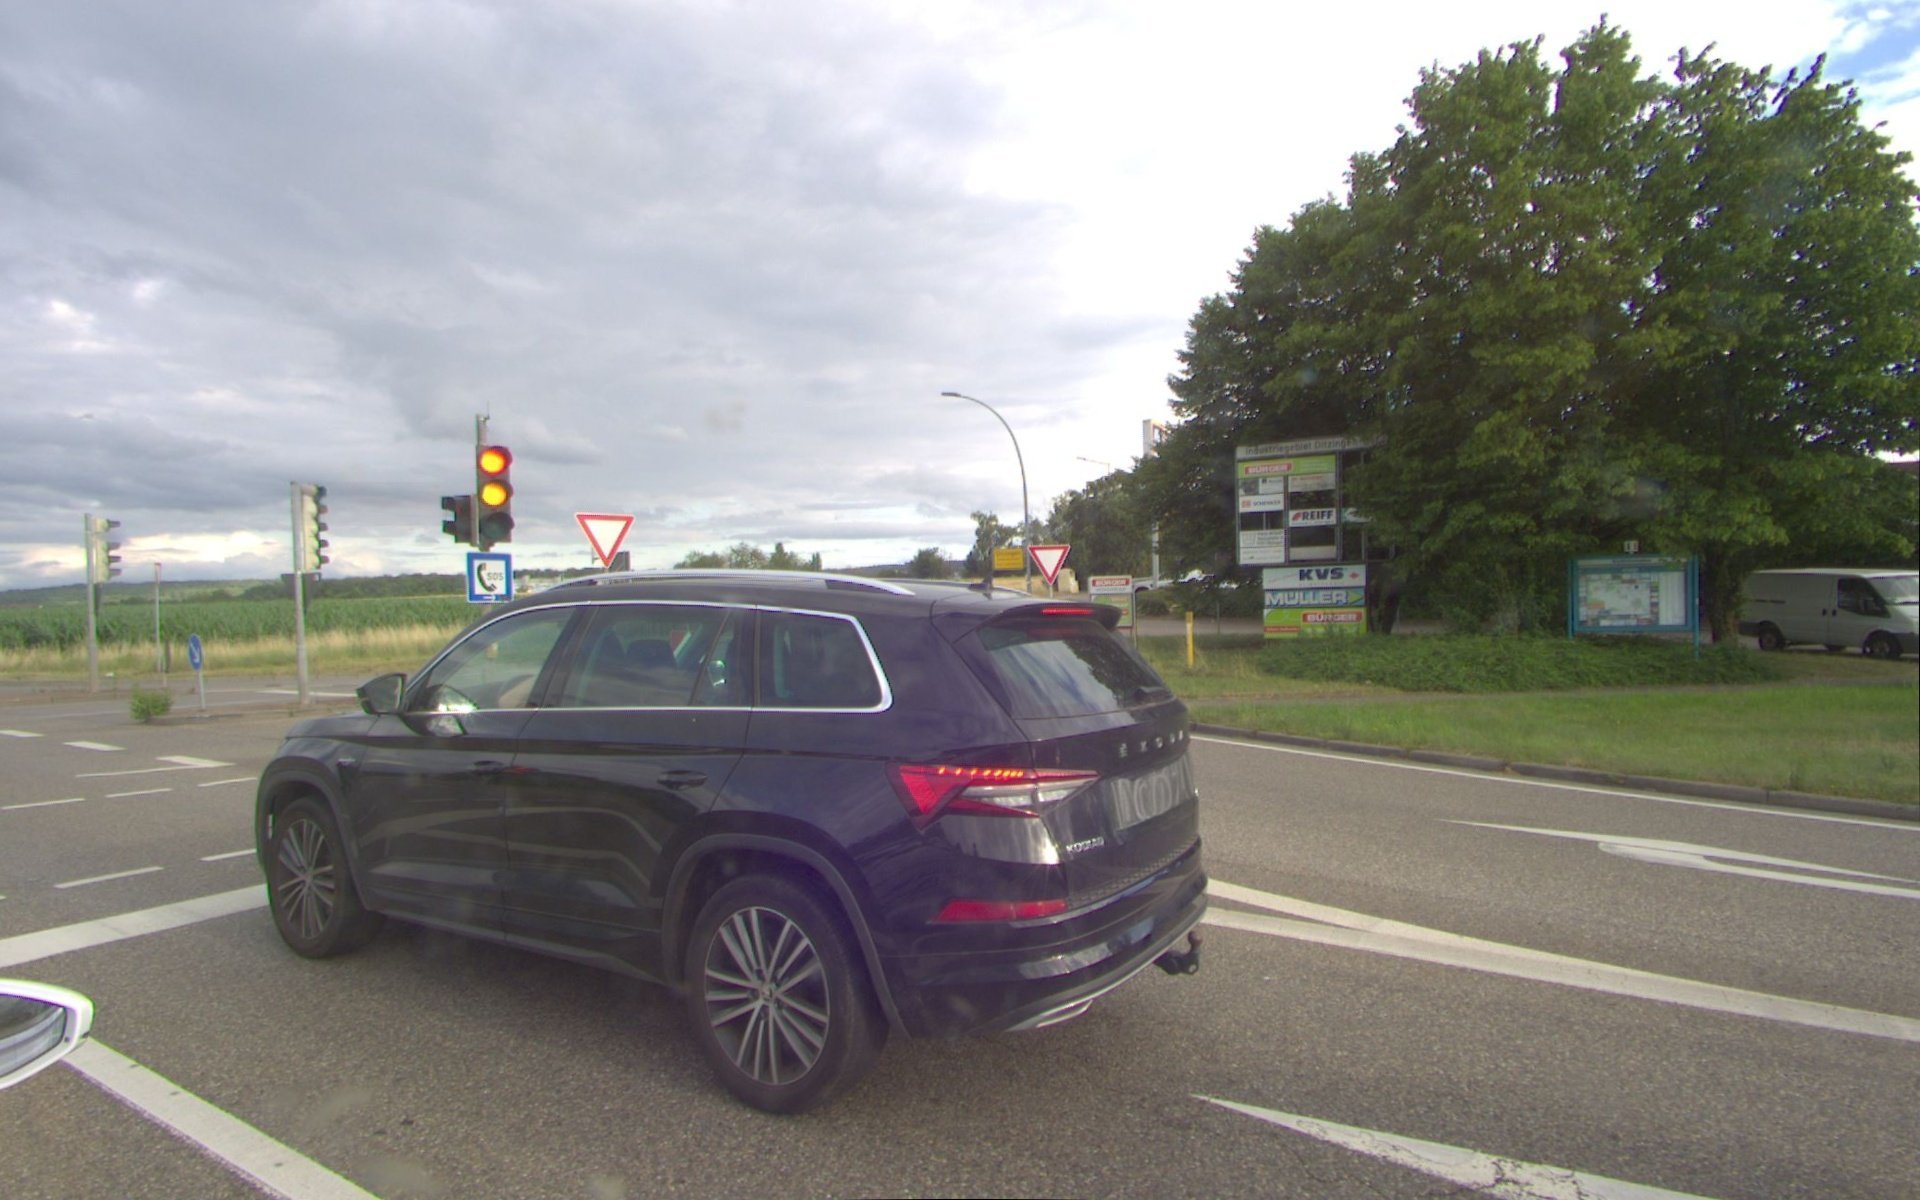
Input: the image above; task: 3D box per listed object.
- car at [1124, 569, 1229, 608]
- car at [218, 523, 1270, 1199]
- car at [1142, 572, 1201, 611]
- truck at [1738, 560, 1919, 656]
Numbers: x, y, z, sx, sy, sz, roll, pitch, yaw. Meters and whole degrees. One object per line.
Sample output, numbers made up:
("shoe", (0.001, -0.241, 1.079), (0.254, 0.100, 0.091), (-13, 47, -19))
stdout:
("car", (12.371, -0.640, 57.207), (5.524, 2.041, 1.992), (-2, 1, 25))
("car", (-1.127, 0.708, 4.325), (4.416, 1.671, 1.842), (-1, -2, 32))
("car", (11.392, -0.465, 53.719), (1.931, 1.910, 4.284), (-1, 2, 29))
("truck", (20.973, 0.221, 23.400), (1.788, 2.022, 4.671), (0, -1, -3))
